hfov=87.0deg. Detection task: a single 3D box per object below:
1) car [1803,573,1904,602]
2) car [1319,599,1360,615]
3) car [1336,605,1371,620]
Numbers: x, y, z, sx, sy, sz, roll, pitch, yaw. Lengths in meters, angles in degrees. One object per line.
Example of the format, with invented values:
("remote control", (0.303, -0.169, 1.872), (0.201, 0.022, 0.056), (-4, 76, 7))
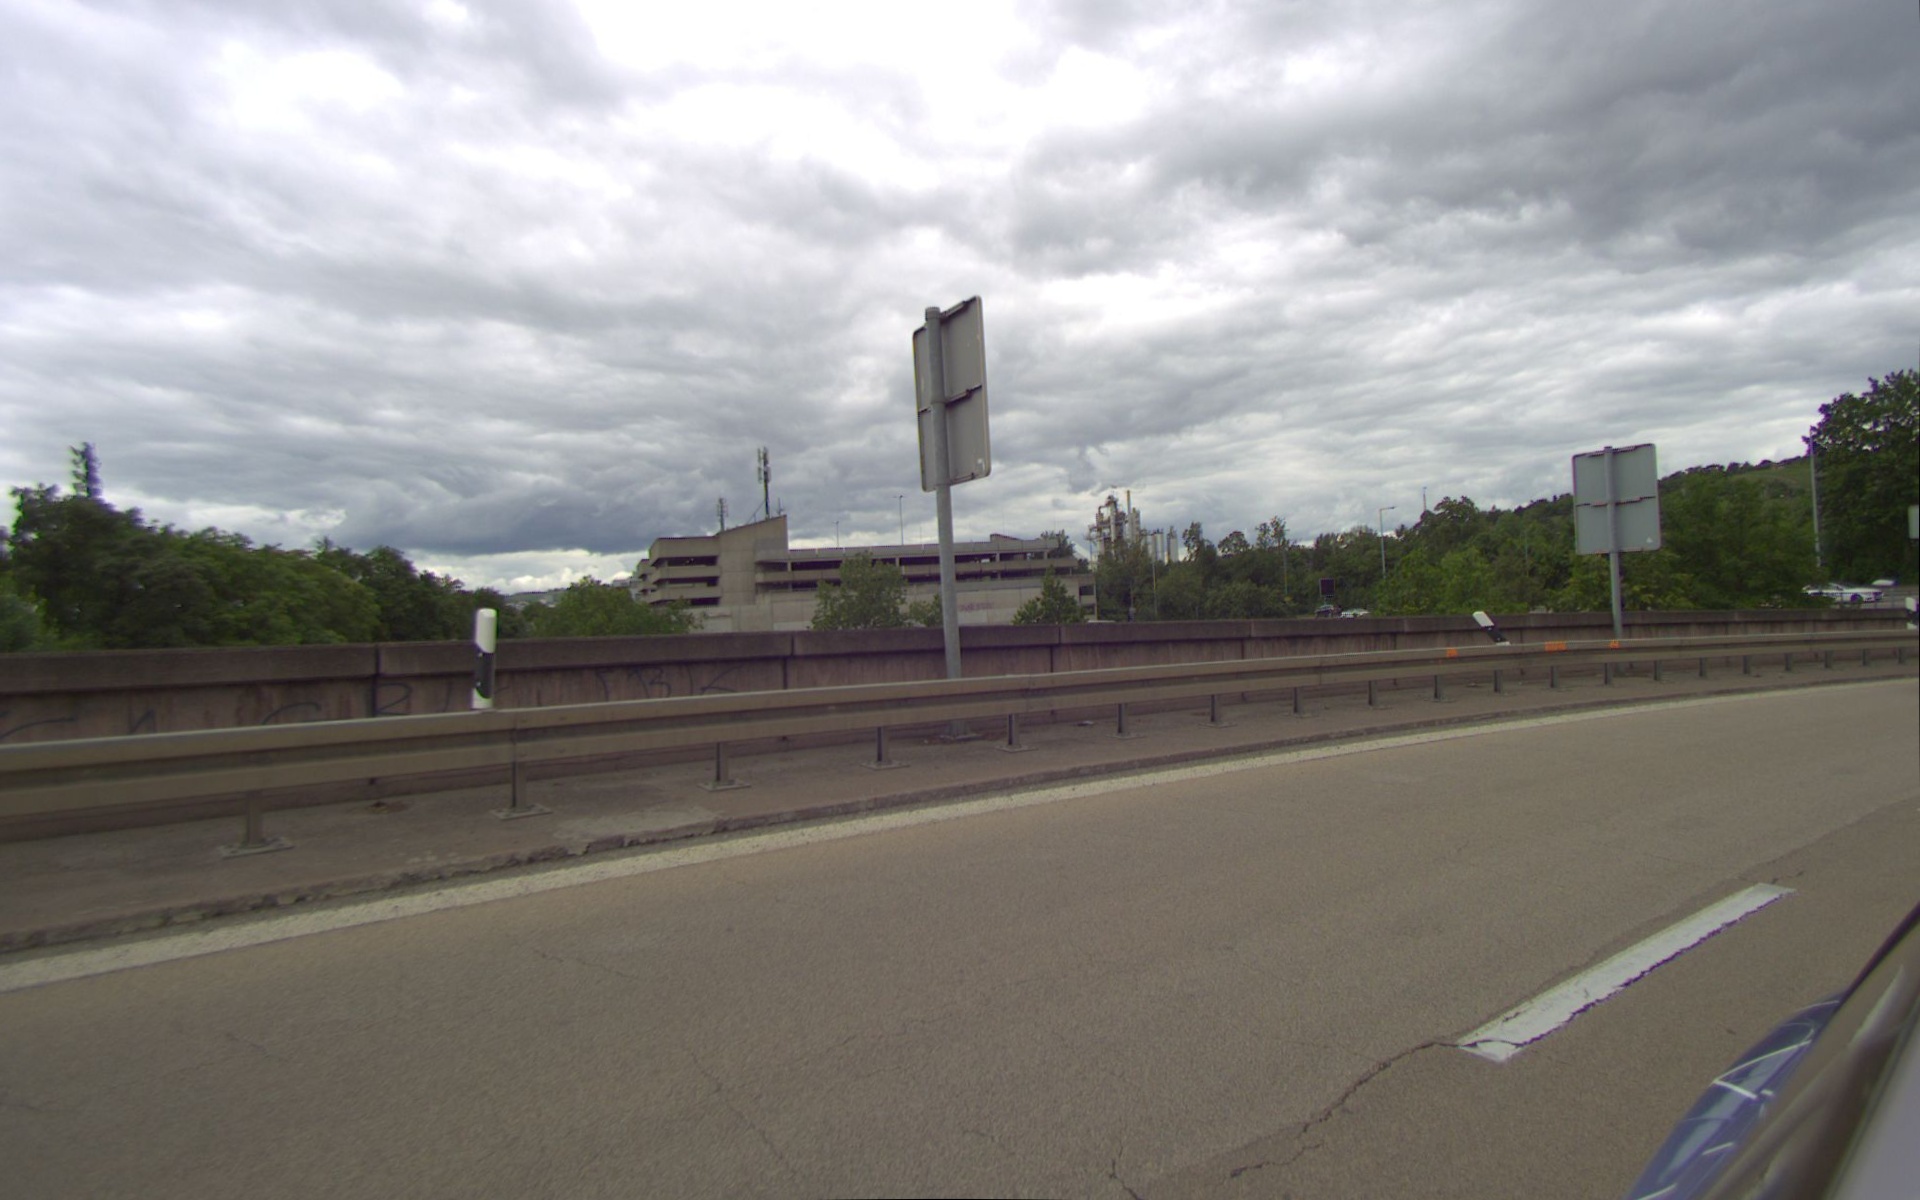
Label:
("car", (60.133, -0.813, 68.200), (1.839, 1.580, 4.723), (-5, -1, -19))
("car", (51.147, 0.949, 136.551), (2.090, 1.778, 5.502), (-5, -1, -18))
("car", (45.180, 1.475, 116.341), (1.616, 1.529, 3.605), (-4, 0, -24))
